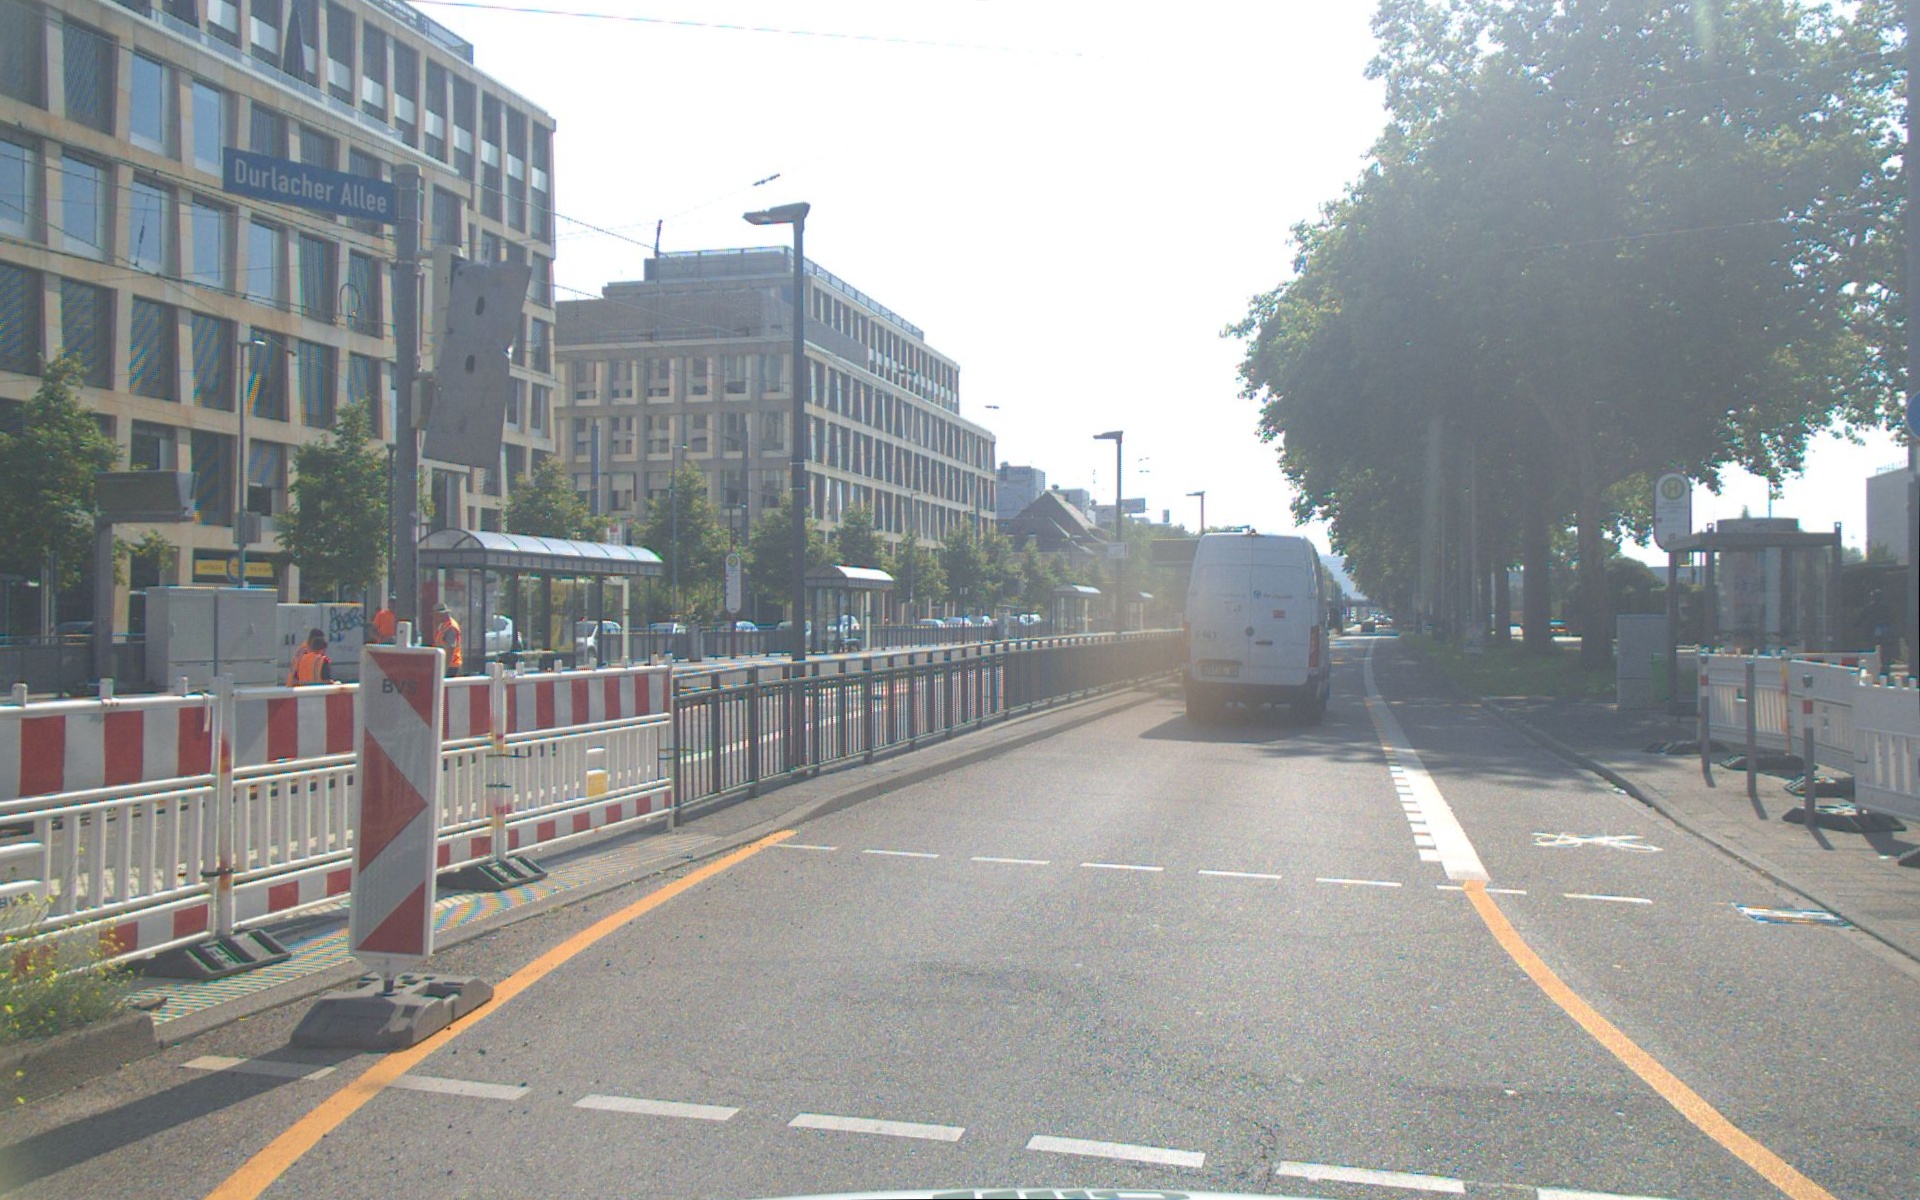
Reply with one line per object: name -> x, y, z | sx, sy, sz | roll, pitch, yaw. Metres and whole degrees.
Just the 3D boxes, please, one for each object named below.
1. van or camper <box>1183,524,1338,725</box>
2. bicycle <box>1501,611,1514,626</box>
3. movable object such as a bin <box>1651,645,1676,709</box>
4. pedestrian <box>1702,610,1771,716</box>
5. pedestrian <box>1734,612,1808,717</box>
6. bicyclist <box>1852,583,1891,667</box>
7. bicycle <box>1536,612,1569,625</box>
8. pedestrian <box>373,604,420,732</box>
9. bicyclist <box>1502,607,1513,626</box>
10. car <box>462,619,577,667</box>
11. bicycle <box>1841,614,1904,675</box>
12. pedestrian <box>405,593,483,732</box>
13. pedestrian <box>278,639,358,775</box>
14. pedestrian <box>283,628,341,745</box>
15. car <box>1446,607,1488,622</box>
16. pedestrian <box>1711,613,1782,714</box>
van or camper -> 4.643, 0.343, 25.235 | 2.070, 2.729, 5.254 | 1, 0, 12
bicycle -> 38.818, 1.294, 117.309 | 0.667, 1.023, 2.220 | -2, -1, 13
movable object such as a bin -> 10.554, 1.153, 24.809 | 0.265, 0.931, 0.386 | -1, -1, 12
pedestrian -> 10.429, 0.840, 22.229 | 0.734, 1.390, 0.612 | 1, -1, 14
pedestrian -> 10.182, 0.806, 20.785 | 0.725, 1.283, 0.612 | 1, -1, 14
bicyclist -> 17.194, 0.466, 31.204 | 0.459, 1.566, 0.597 | -1, -1, 11
bicycle -> 40.948, 1.289, 114.319 | 2.133, 0.861, 0.503 | -2, -1, 15
pedestrian -> -8.264, 0.984, 24.286 | 0.614, 1.847, 0.638 | -1, 0, -18
bicyclist -> 38.880, 1.162, 117.384 | 0.655, 1.298, 0.729 | -2, -1, 13
car -> -13.973, 1.344, 52.703 | 1.648, 1.432, 4.377 | -1, -1, 13
bicycle -> 17.201, 0.825, 31.220 | 0.480, 1.108, 1.859 | -1, 0, 11
pedestrian -> -7.515, 0.891, 24.100 | 0.709, 1.985, 0.787 | -1, -1, 29
pedestrian -> -8.273, 1.357, 21.329 | 0.765, 1.692, 0.658 | -1, -1, -42
pedestrian -> -8.990, 1.190, 22.969 | 0.627, 1.581, 0.624 | -1, 0, -12
car -> 50.812, 1.414, 165.815 | 3.902, 1.400, 2.001 | 1, -1, 14
pedestrian -> 10.260, 0.824, 21.582 | 0.725, 1.283, 0.612 | 1, -1, 14
